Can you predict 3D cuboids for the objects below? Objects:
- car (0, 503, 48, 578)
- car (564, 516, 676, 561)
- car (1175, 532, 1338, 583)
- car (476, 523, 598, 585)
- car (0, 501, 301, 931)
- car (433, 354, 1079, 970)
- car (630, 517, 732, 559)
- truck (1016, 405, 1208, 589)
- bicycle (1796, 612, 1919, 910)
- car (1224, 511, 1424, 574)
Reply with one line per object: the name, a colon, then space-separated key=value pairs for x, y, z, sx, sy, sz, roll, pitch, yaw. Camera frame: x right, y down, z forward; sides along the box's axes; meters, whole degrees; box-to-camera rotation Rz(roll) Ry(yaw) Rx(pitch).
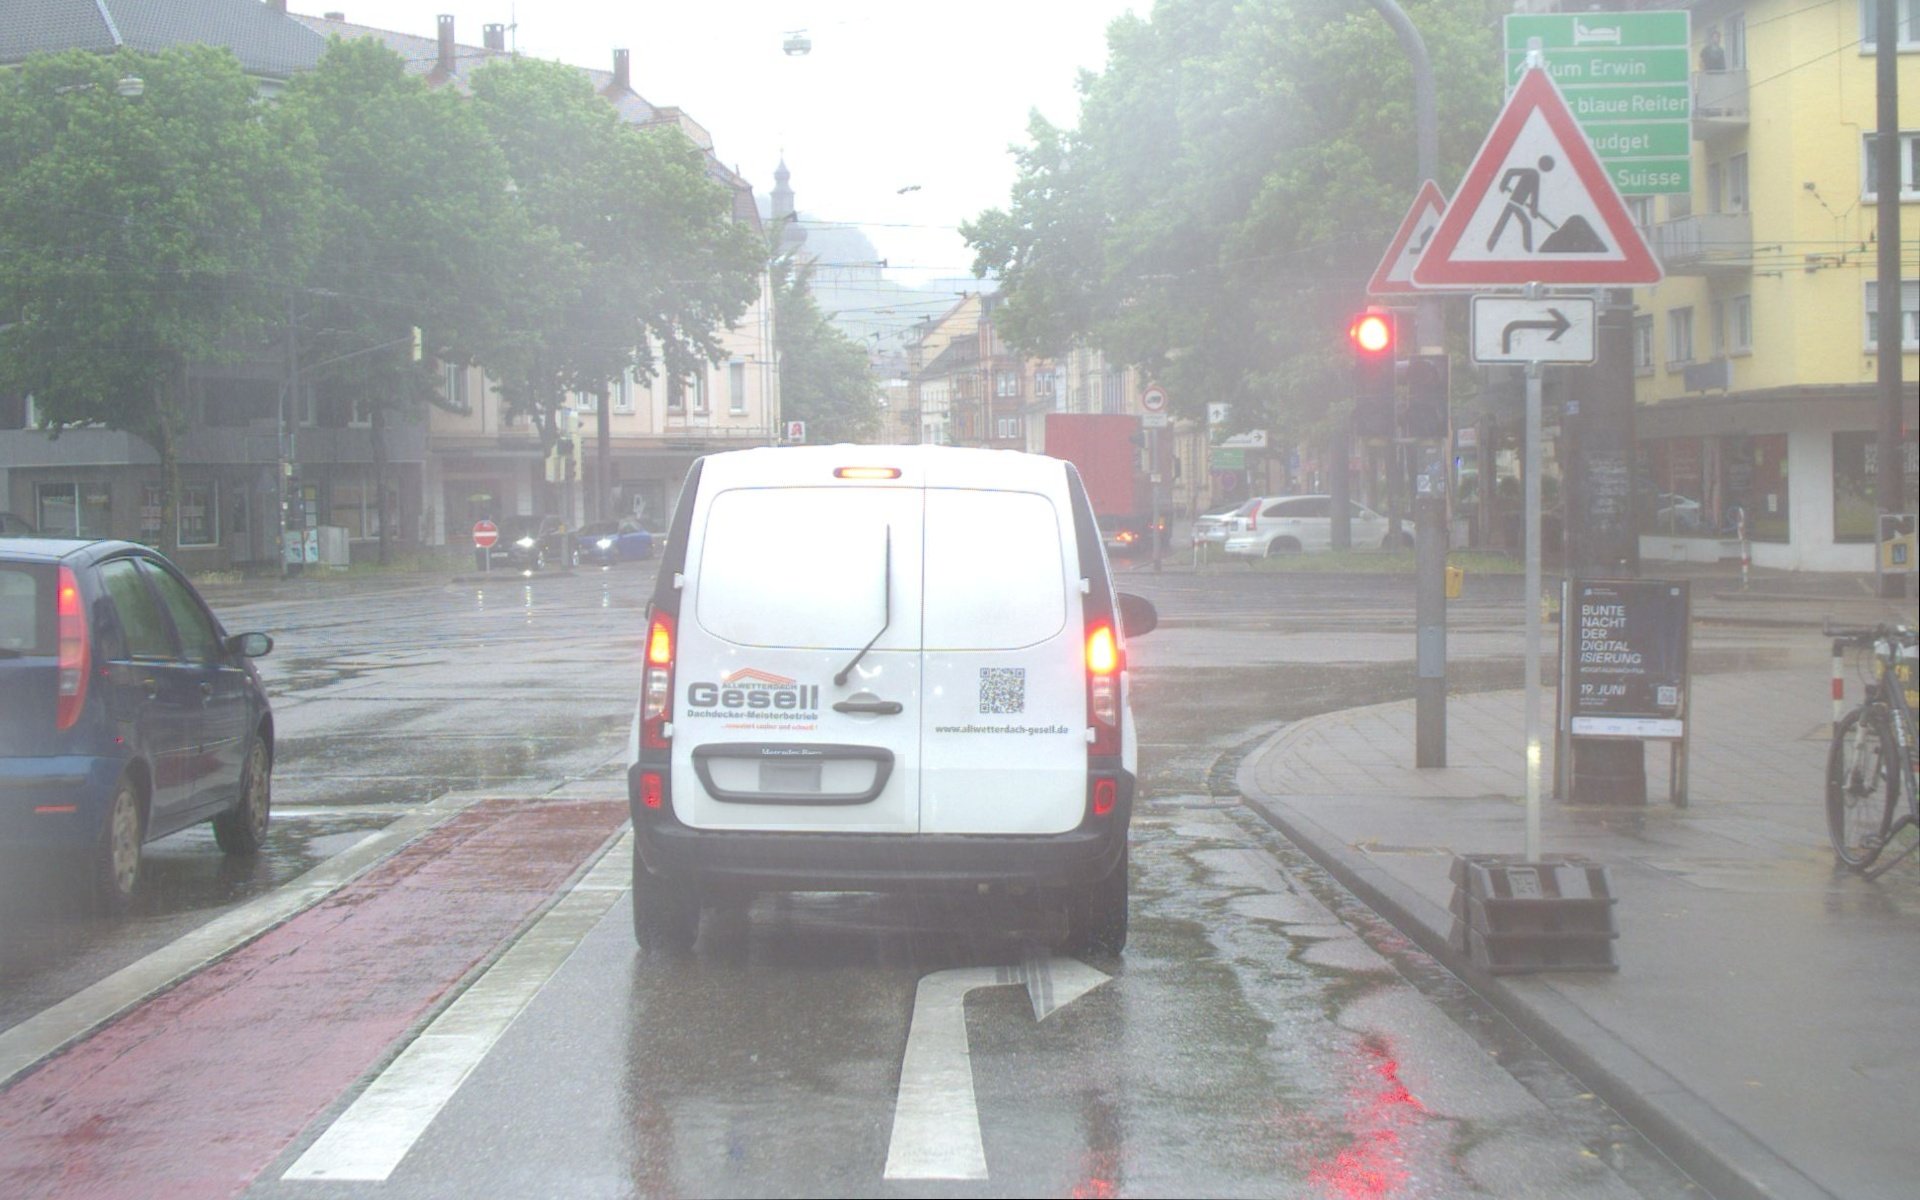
car: x=-26.673 y=-1.615 z=92.413 sx=1.996 sy=2.007 sz=3.994 roll=1 pitch=1 yaw=27
car: x=-10.179 y=-1.853 z=103.202 sx=1.952 sy=1.235 sz=3.997 roll=1 pitch=3 yaw=17
car: x=6.727 y=-0.969 z=78.223 sx=3.441 sy=1.126 sz=1.472 roll=0 pitch=1 yaw=-7
car: x=-11.888 y=-1.305 z=96.787 sx=1.952 sy=1.602 sz=3.997 roll=1 pitch=3 yaw=17
car: x=-4.009 y=0.379 z=14.498 sx=1.727 sy=1.573 sz=3.821 roll=1 pitch=1 yaw=0
car: x=-0.668 y=0.166 z=13.674 sx=2.100 sy=2.005 sz=4.963 roll=0 pitch=1 yaw=0
car: x=-8.990 y=-2.009 z=110.979 sx=1.952 sy=1.235 sz=3.997 roll=1 pitch=3 yaw=17
truck: x=4.753 y=-2.990 z=102.845 sx=3.471 sy=5.070 sz=15.300 roll=1 pitch=1 yaw=11
bicycle: x=4.016 y=0.645 z=14.440 sx=0.514 sy=1.103 sz=2.017 roll=3 pitch=1 yaw=1
car: x=8.066 y=-1.289 z=76.315 sx=4.165 sy=1.334 sz=1.521 roll=0 pitch=2 yaw=-7
